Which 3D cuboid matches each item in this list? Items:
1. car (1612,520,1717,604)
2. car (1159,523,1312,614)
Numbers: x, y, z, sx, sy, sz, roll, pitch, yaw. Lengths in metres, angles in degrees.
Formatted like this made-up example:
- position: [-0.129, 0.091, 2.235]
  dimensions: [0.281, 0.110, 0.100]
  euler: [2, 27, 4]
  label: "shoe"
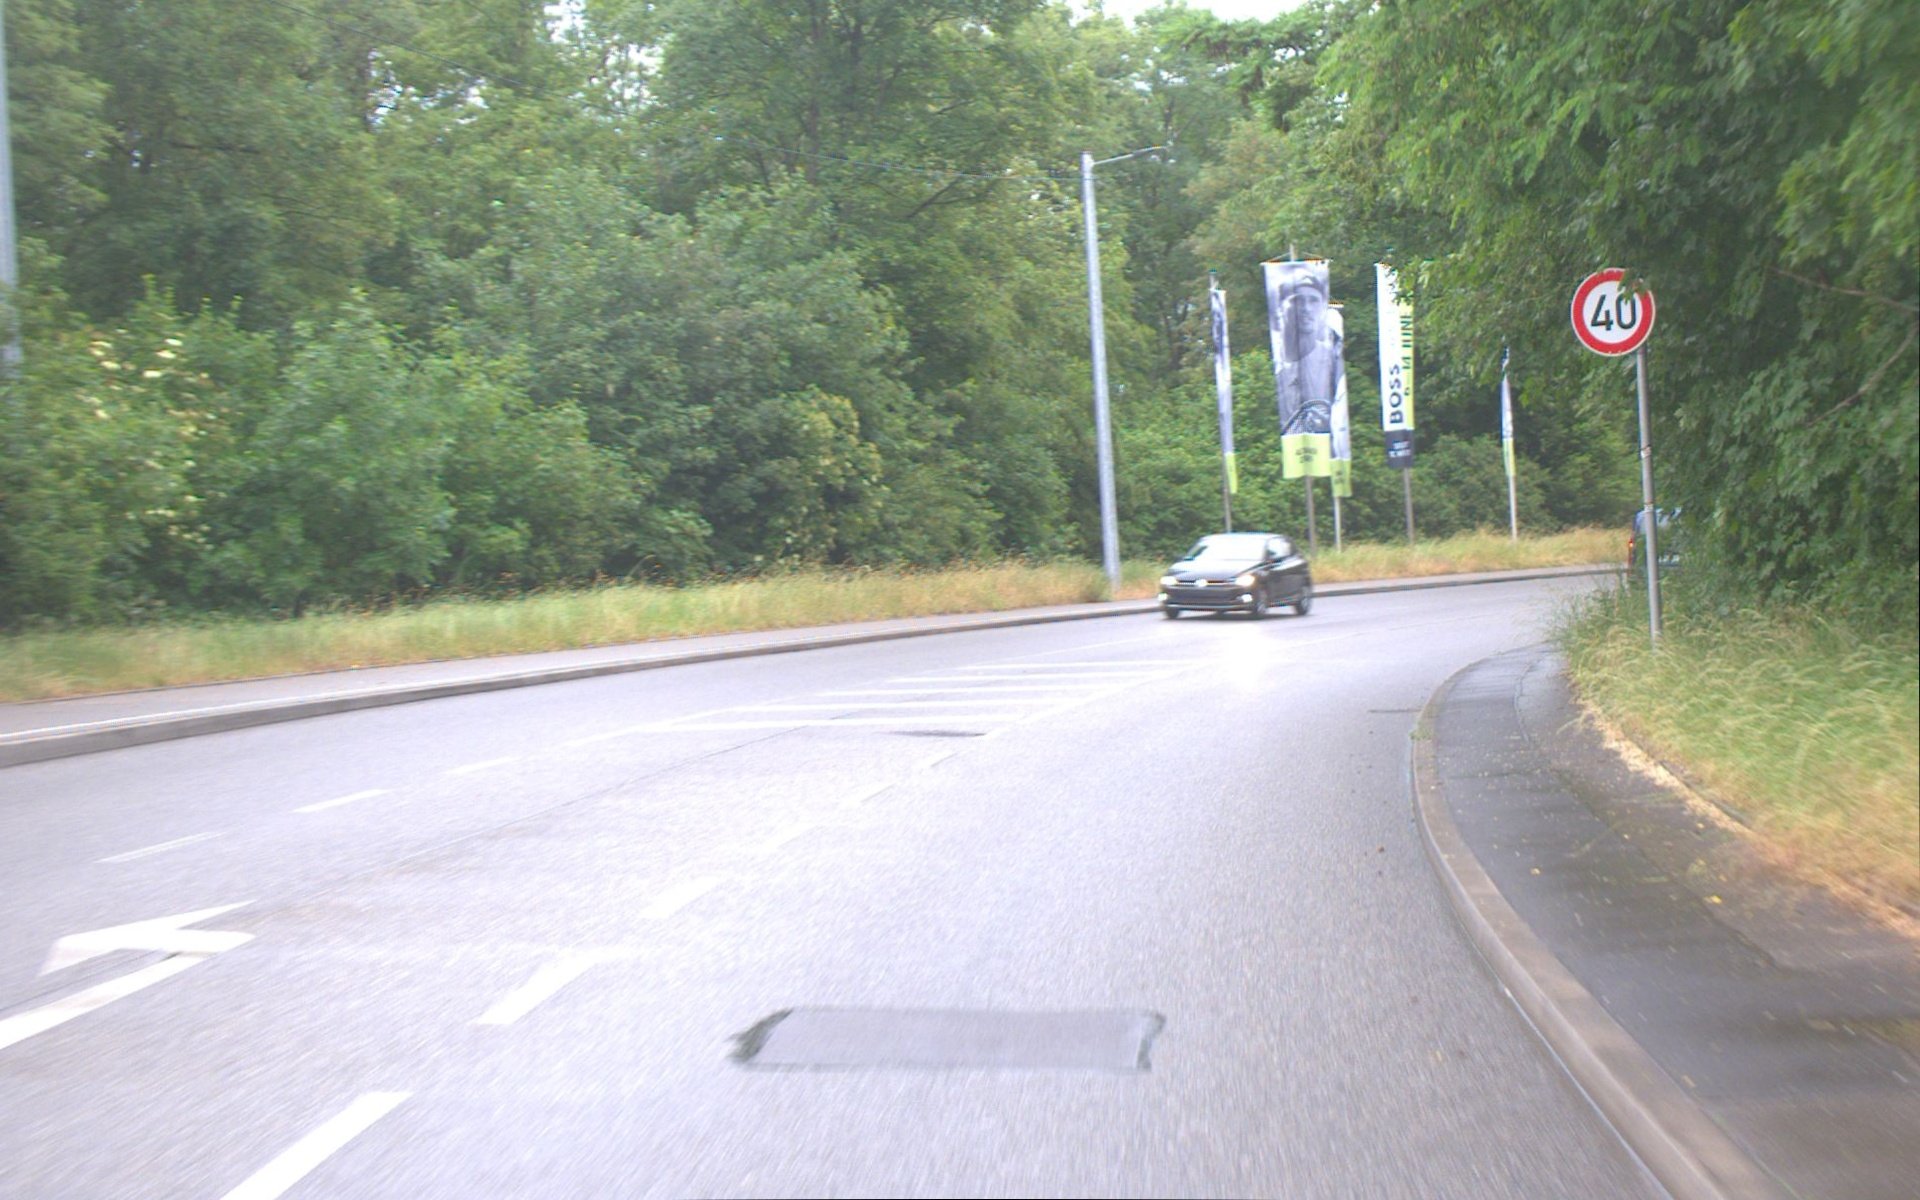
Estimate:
- position: [13.668, -0.751, 66.819]
  dimensions: [1.668, 1.588, 3.682]
  euler: [0, 1, 7]
  label: "car"
- position: [4.729, -0.560, 58.649]
  dimensions: [1.596, 1.472, 3.789]
  euler: [1, 1, 21]
  label: "car"
